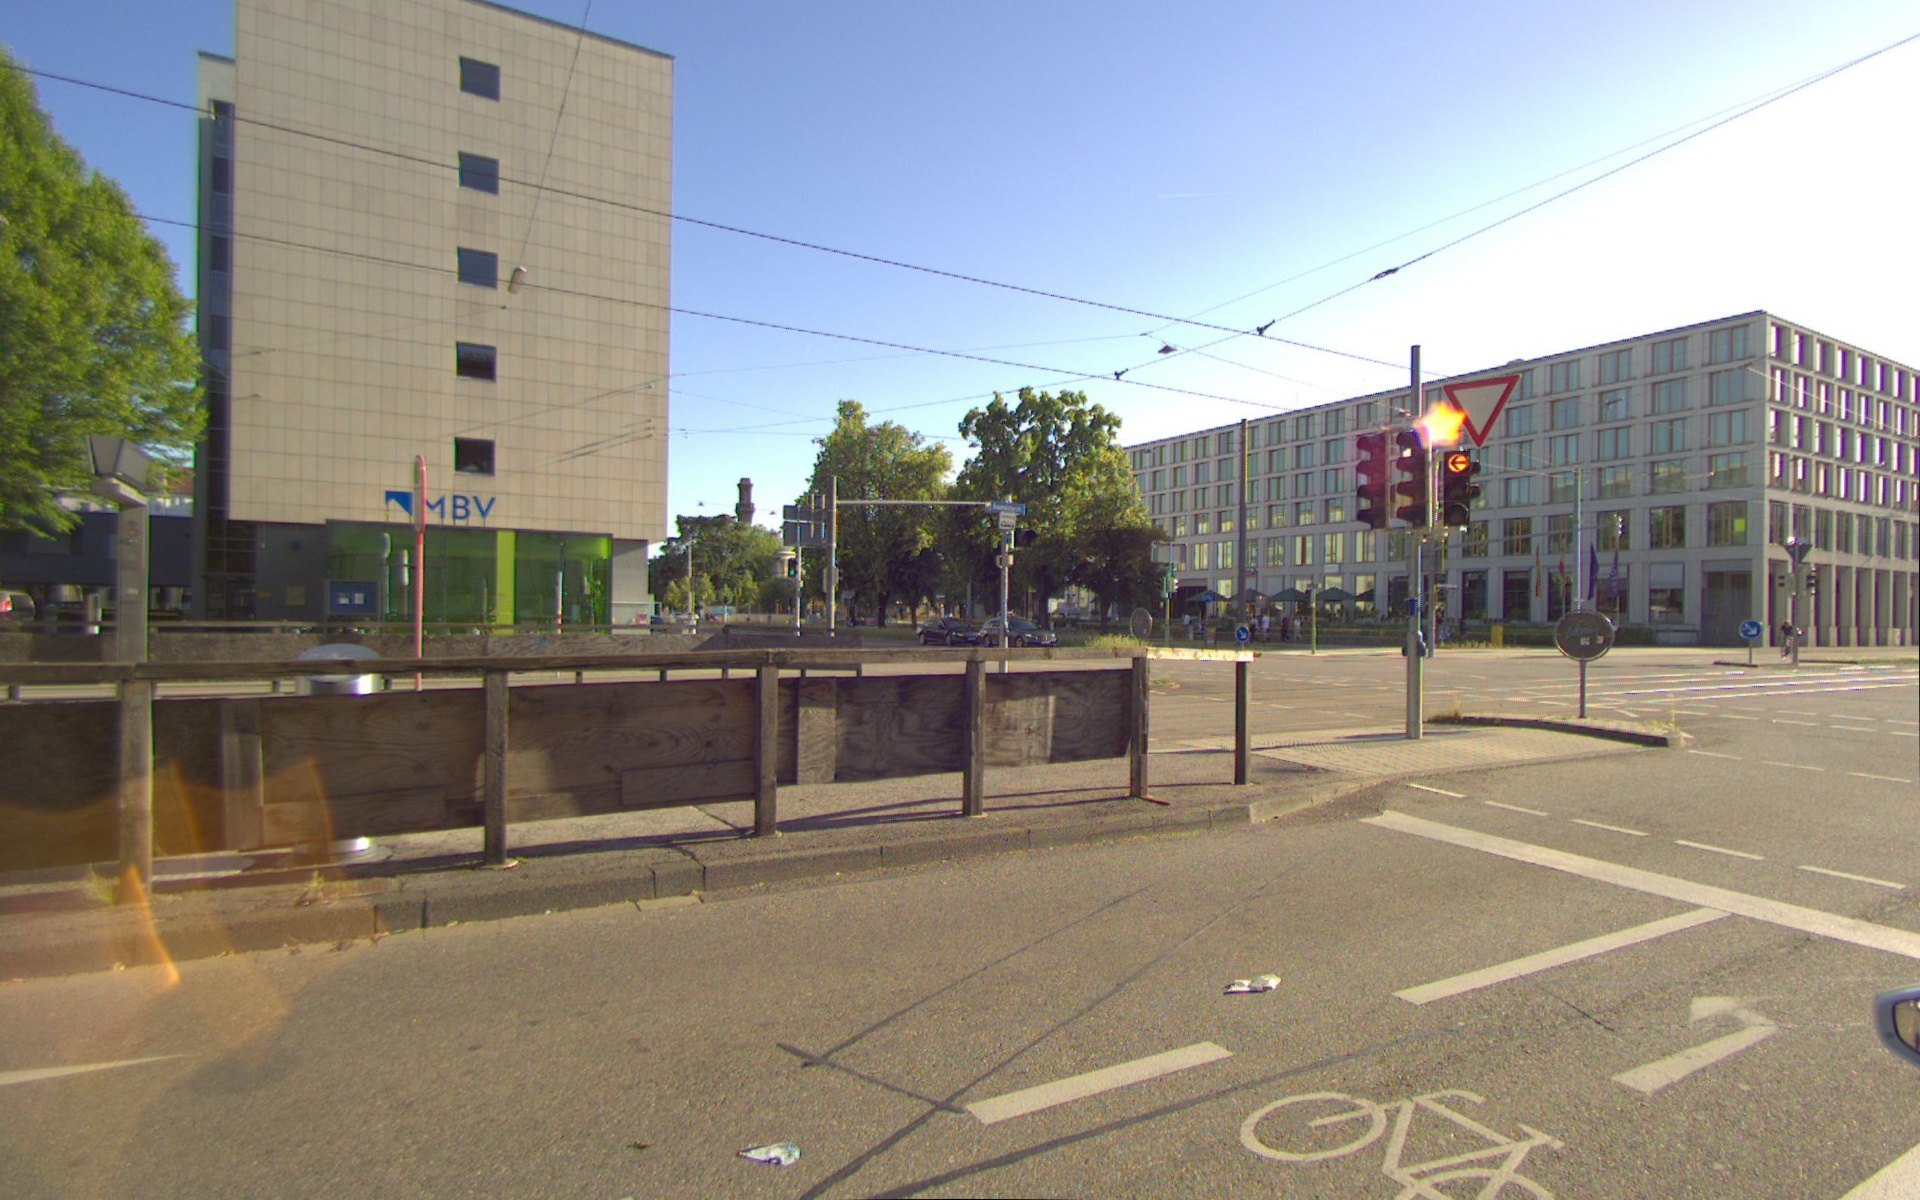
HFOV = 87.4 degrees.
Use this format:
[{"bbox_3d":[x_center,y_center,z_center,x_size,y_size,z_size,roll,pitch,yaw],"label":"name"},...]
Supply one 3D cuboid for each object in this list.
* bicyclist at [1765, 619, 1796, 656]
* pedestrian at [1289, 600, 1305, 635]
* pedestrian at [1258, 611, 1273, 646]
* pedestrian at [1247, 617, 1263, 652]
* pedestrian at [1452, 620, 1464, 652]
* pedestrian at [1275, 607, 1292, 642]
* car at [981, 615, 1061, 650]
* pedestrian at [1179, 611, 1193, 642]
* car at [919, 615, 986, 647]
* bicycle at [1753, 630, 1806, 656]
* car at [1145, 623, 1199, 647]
[{"bbox_3d":[37.494,1.687,45.918,0.812,1.663,0.872,1,-1,-29],"label":"bicyclist"},{"bbox_3d":[19.660,1.032,58.552,0.793,2.040,0.526,1,-1,-36],"label":"pedestrian"},{"bbox_3d":[18.087,1.701,59.472,0.793,2.040,0.526,1,-1,-36],"label":"pedestrian"},{"bbox_3d":[17.258,2.014,58.817,0.793,2.040,0.526,1,-1,-36],"label":"pedestrian"},{"bbox_3d":[31.587,2.287,63.732,0.386,2.040,0.606,1,-1,-29],"label":"pedestrian"},{"bbox_3d":[18.907,1.432,58.694,0.793,2.040,0.526,1,-1,-36],"label":"pedestrian"},{"bbox_3d":[2.829,1.507,47.413,1.708,1.595,4.140,1,-1,-31],"label":"car"},{"bbox_3d":[14.488,1.686,64.330,0.672,1.928,0.560,1,-1,-21],"label":"pedestrian"},{"bbox_3d":[-0.427,1.582,53.002,1.801,1.595,3.967,0,0,-31],"label":"car"},{"bbox_3d":[37.449,1.960,45.894,2.976,1.136,0.871,1,-1,-29],"label":"bicycle"},{"bbox_3d":[13.367,2.186,63.404,1.459,1.457,3.159,1,-1,-39],"label":"car"}]
